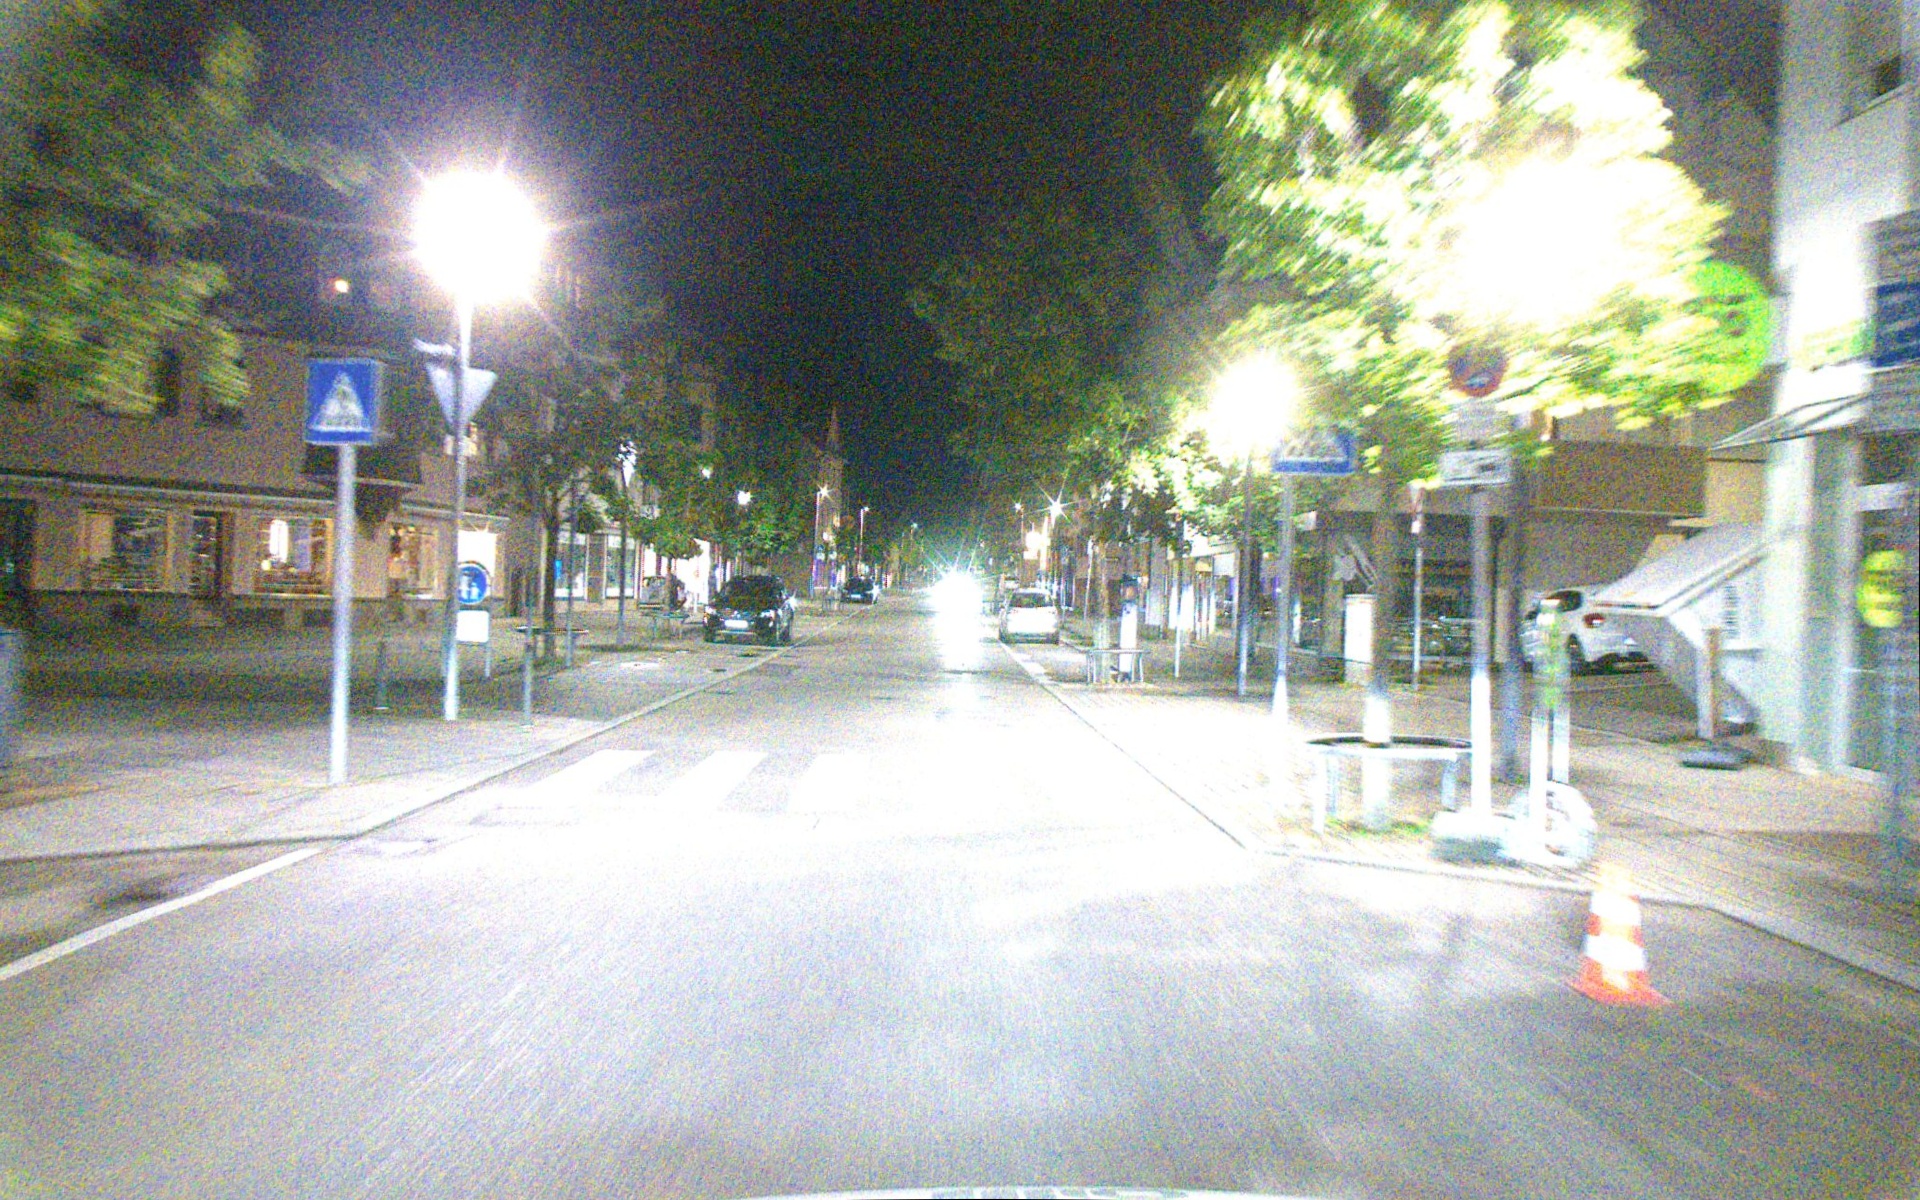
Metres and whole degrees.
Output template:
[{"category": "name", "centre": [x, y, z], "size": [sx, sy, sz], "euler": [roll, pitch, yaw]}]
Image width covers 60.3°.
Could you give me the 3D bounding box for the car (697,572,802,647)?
[{"category": "car", "centre": [-5.344, 0.198, 42.641], "size": [1.976, 1.720, 5.003], "euler": [3, 1, 0]}]

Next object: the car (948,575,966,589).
[{"category": "car", "centre": [-0.265, -1.724, 159.712], "size": [1.687, 1.268, 4.238], "euler": [1, 1, 1]}]

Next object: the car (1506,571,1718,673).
[{"category": "car", "centre": [10.767, 0.368, 27.642], "size": [1.768, 1.486, 4.055], "euler": [-3, -1, -2]}]

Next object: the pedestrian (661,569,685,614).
[{"category": "pedestrian", "centre": [-11.180, -0.342, 64.534], "size": [0.753, 1.684, 0.817], "euler": [1, 2, 1]}]

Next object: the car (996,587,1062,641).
[{"category": "car", "centre": [1.986, 0.370, 48.415], "size": [1.641, 1.485, 3.674], "euler": [1, 0, -2]}]

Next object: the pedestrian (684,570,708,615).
[{"category": "pedestrian", "centre": [-10.241, -0.297, 64.233], "size": [0.753, 1.684, 0.782], "euler": [1, 2, 1]}]

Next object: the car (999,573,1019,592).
[{"category": "car", "centre": [4.417, -1.598, 150.249], "size": [1.739, 1.681, 4.365], "euler": [1, 1, 1]}]

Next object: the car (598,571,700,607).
[{"category": "car", "centre": [-13.653, -0.480, 72.731], "size": [4.080, 1.463, 1.842], "euler": [-2, 0, 3]}]

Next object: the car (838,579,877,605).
[{"category": "car", "centre": [-5.979, -0.479, 96.682], "size": [1.875, 1.394, 4.458], "euler": [1, 1, 1]}]
